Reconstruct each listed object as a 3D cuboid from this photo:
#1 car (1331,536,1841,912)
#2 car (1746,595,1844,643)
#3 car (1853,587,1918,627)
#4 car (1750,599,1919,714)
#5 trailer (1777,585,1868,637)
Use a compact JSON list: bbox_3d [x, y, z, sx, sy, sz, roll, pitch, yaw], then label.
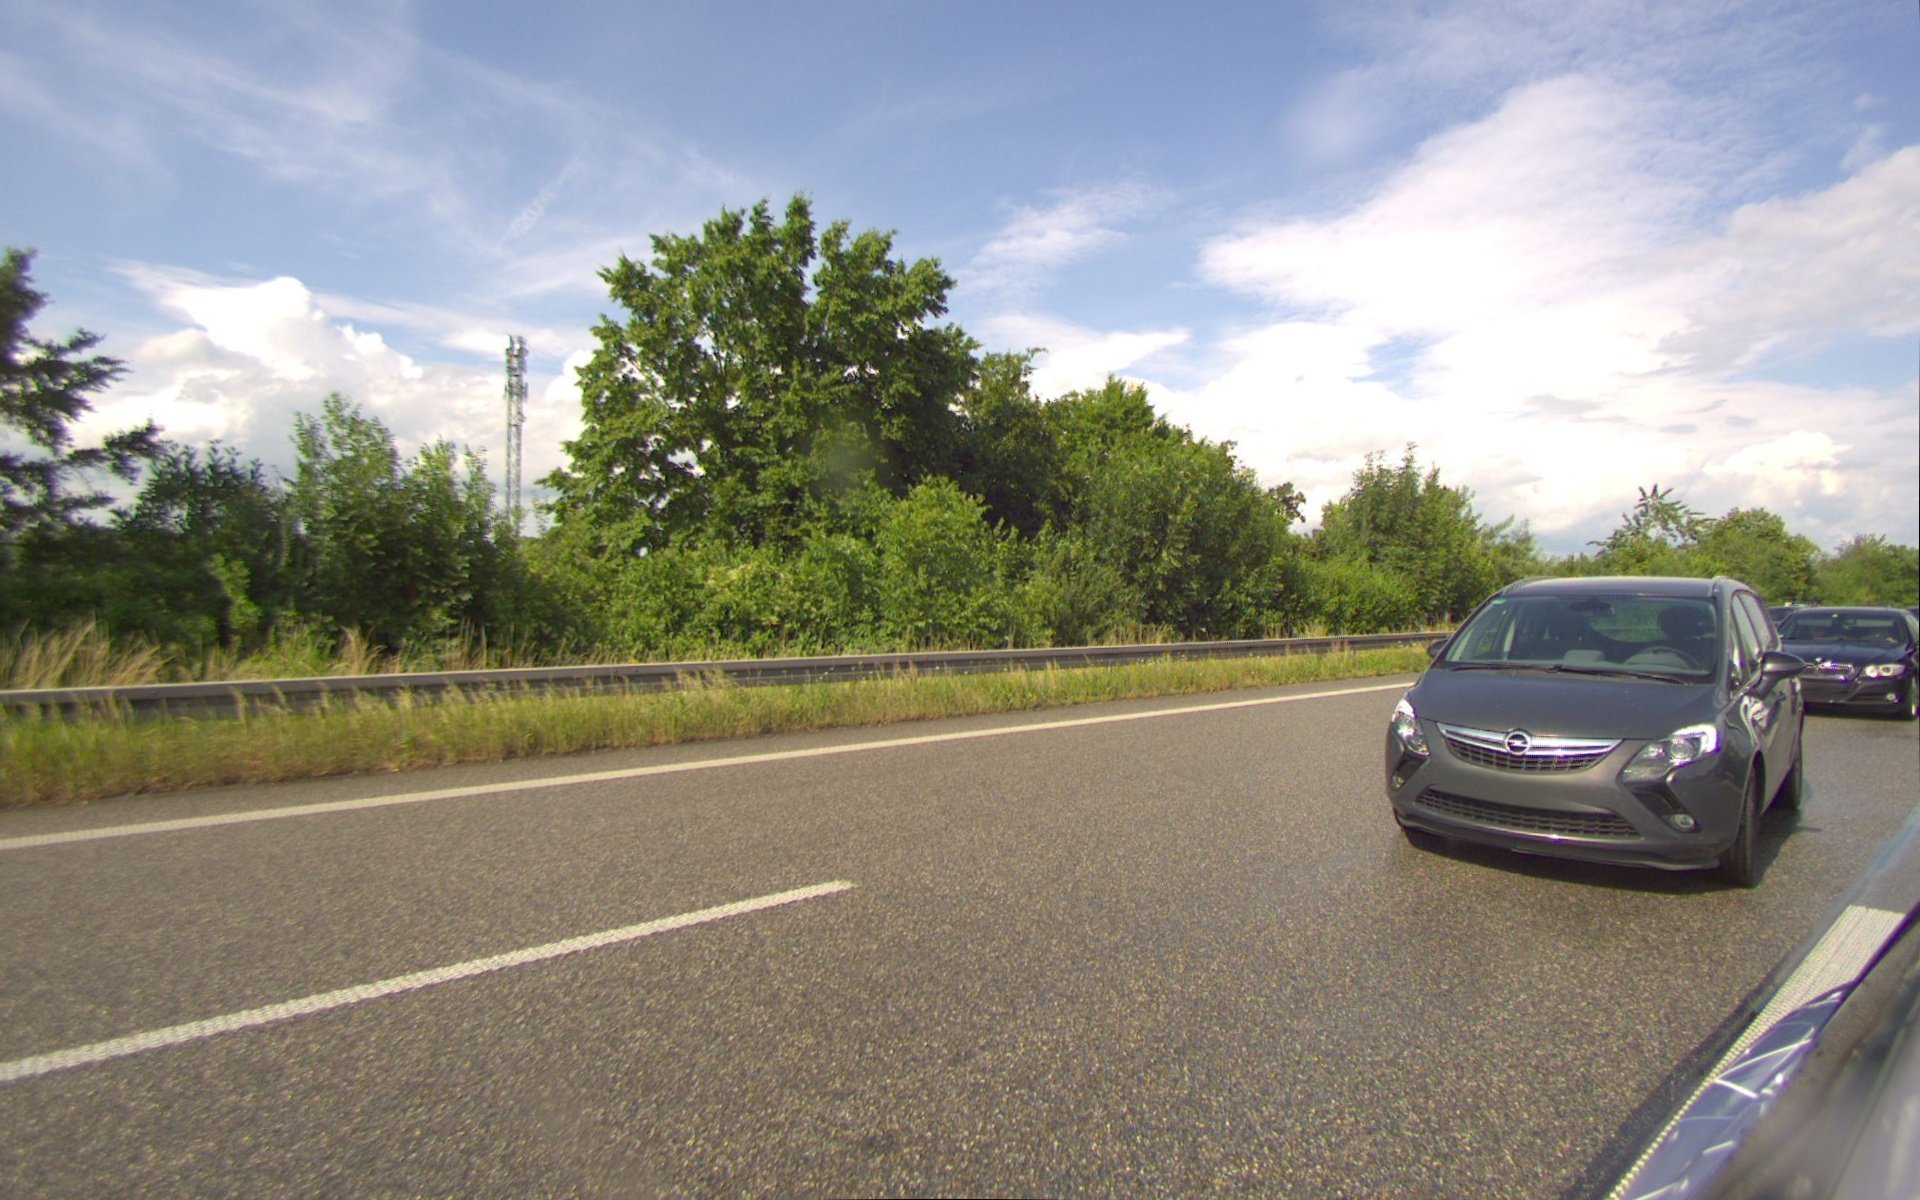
[{"bbox_3d":[4.425,0.534,6.761,4.658,1.652,1.855,0,0,-45],"label":"car"},{"bbox_3d":[27.457,0.583,33.231,4.326,1.449,1.746,0,1,-40],"label":"car"},{"bbox_3d":[36.462,0.263,39.850,3.422,1.507,1.614,0,1,-42],"label":"car"},{"bbox_3d":[12.473,0.689,14.014,3.816,1.371,1.721,0,0,-41],"label":"car"},{"bbox_3d":[30.602,0.370,35.886,3.897,1.768,1.809,0,0,-40],"label":"trailer"}]
